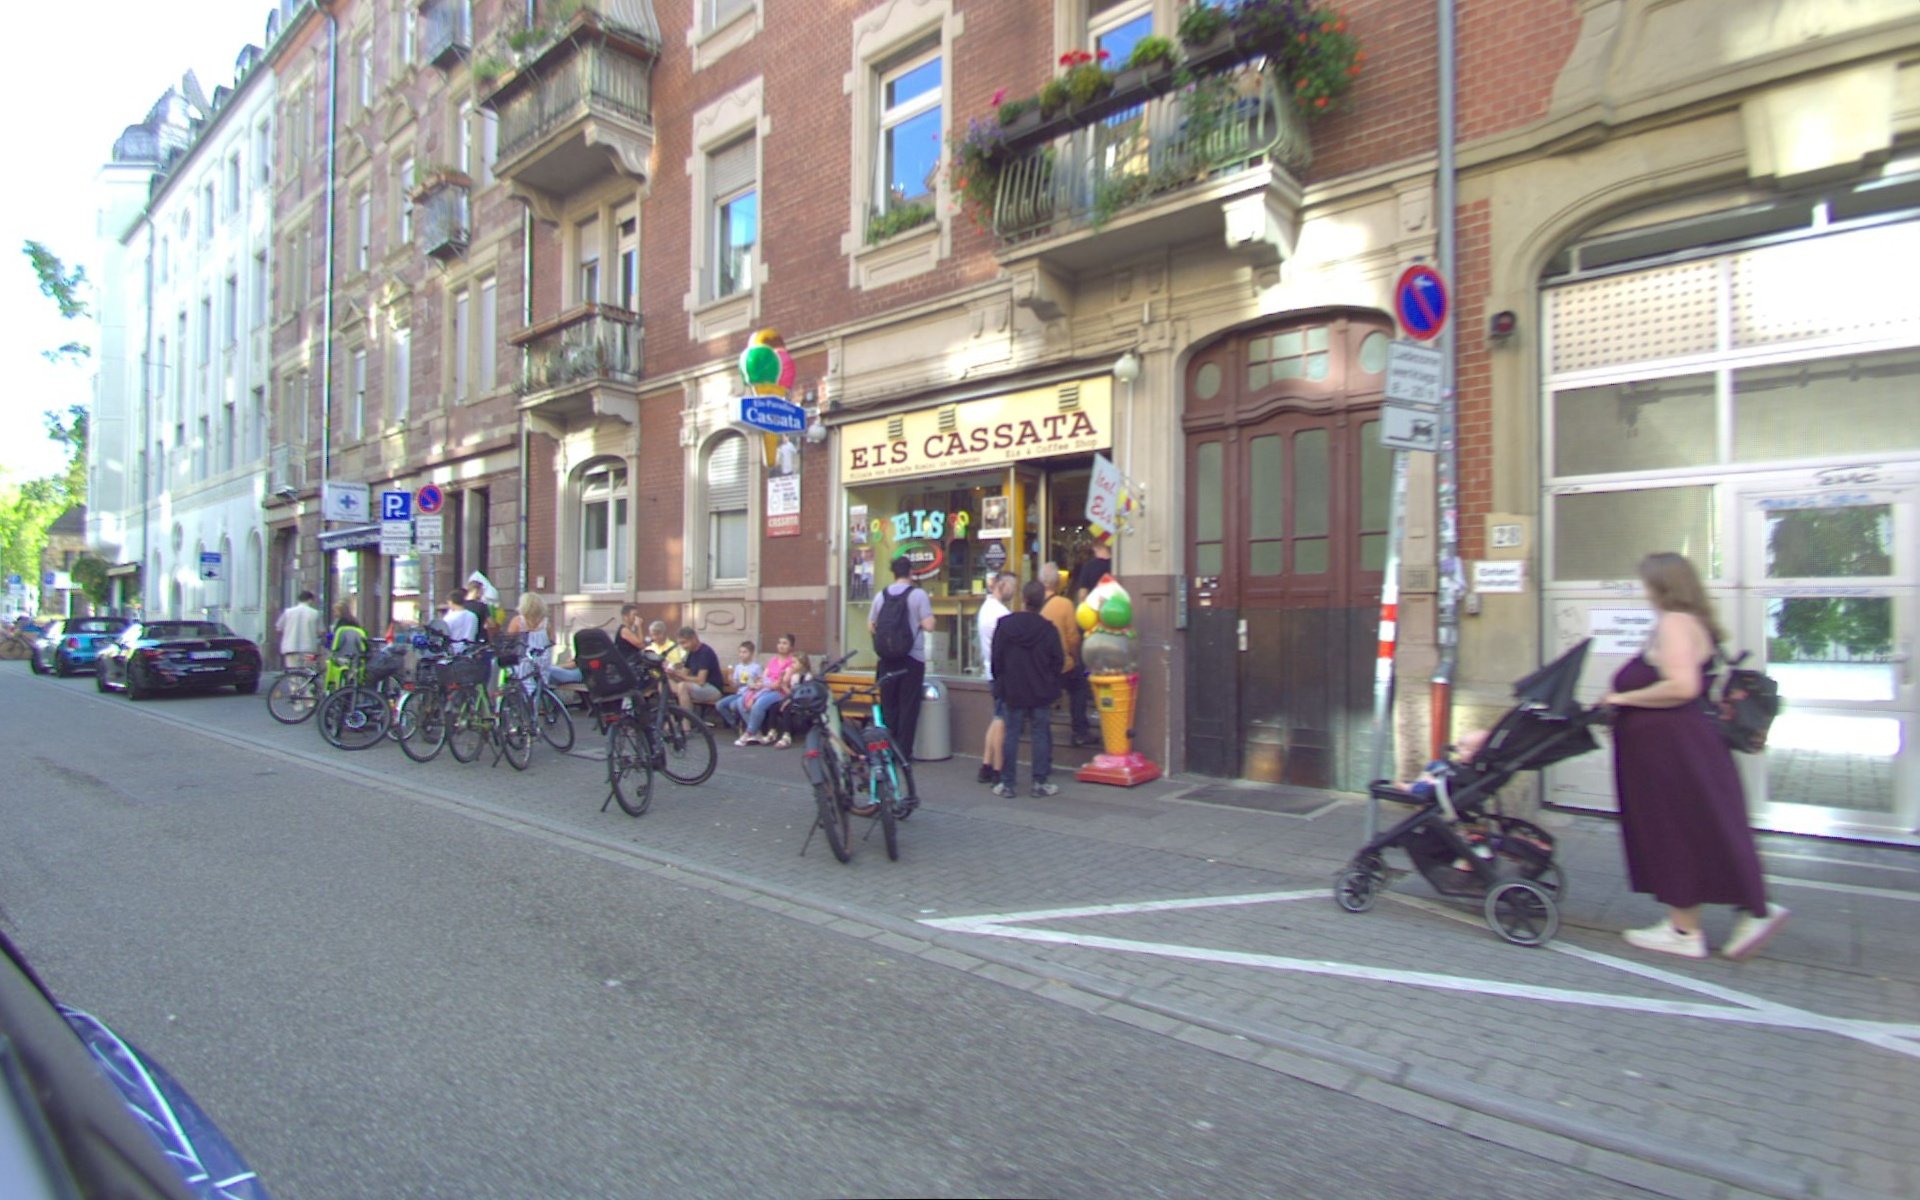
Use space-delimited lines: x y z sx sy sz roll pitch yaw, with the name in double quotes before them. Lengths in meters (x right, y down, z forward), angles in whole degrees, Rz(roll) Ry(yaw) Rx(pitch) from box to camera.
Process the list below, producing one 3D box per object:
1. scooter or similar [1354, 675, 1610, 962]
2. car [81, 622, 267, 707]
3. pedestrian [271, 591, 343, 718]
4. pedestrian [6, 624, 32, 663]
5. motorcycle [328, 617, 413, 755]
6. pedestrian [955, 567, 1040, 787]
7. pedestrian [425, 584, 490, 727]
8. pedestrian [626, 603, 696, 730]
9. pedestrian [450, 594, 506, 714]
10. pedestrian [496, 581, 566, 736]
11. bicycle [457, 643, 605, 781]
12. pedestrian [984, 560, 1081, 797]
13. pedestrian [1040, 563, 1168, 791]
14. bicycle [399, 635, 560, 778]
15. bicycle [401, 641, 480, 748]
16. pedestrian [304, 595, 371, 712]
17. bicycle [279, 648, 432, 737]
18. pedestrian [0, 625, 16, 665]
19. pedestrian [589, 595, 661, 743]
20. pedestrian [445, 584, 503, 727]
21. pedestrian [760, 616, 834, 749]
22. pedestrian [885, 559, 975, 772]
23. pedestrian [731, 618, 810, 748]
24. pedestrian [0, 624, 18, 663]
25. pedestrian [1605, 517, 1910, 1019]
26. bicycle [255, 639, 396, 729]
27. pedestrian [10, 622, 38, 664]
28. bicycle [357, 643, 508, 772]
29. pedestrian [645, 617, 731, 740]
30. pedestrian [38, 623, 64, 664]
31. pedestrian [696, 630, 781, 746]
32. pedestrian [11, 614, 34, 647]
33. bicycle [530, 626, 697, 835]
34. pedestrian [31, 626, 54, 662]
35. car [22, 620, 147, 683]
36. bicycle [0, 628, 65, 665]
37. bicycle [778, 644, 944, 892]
"scooter or similar" 2.322 0.899 4.512 0.920 1.063 0.600 -1 -1 37
"car" -14.760 1.112 18.888 5.112 1.361 1.793 -1 -1 41
"pedestrian" -9.734 0.790 15.104 0.750 1.832 0.668 -1 -1 -19
"pedestrian" -33.162 1.515 35.665 0.658 1.346 0.740 0 -1 -42
"motorcycle" -6.650 0.899 11.367 0.697 1.395 2.029 0 -1 -34
"pedestrian" 0.315 0.602 8.258 0.579 1.709 0.663 -1 -1 11
"pedestrian" -6.485 0.693 13.056 0.596 1.765 0.947 0 -1 -36
"pedestrian" -3.650 0.785 12.340 0.596 1.481 0.727 0 -1 -38
"pedestrian" -7.304 0.800 15.362 0.678 1.773 0.668 -1 -1 -19
"pedestrian" -5.116 0.674 12.064 0.596 1.765 0.727 0 -1 -38
"bicycle" -4.028 1.007 9.647 0.548 1.129 1.735 -1 0 5
"pedestrian" 0.533 0.570 7.636 0.637 1.709 0.565 -1 -1 -3
"pedestrian" 1.150 0.580 8.089 0.763 1.709 0.656 -1 -1 42
"bicycle" -4.618 0.975 9.867 0.583 1.209 1.788 -1 -1 5
"bicycle" -6.038 1.050 11.728 0.570 1.098 1.742 0 -1 -35
"pedestrian" -9.722 0.819 15.818 0.750 1.773 0.668 -1 -1 -19
"bicycle" -7.687 1.157 12.933 1.658 1.038 0.410 0 -1 -28
"pedestrian" -32.921 1.544 34.731 0.644 1.359 0.729 -1 -1 44
"pedestrian" -3.821 0.765 11.549 0.584 1.629 0.547 -1 -1 42
"pedestrian" -6.643 0.739 13.851 0.637 1.906 0.603 -1 -1 -19
"pedestrian" -1.703 0.837 10.592 0.372 1.323 0.694 -1 -1 37
"pedestrian" -0.262 0.581 9.294 0.658 1.868 0.761 -1 -1 11
"pedestrian" -2.027 0.863 10.845 0.439 1.323 0.710 -1 -1 37
"pedestrian" -34.791 1.568 36.544 1.073 1.383 0.896 0 -1 -40
"pedestrian" 3.051 0.564 3.986 0.826 1.674 0.903 -1 -1 33
"bicycle" -8.379 1.095 13.387 1.556 1.125 0.375 -1 -1 -9
"pedestrian" -32.134 1.469 34.754 0.680 1.383 0.740 0 -1 -45
"bicycle" -5.217 1.023 10.116 0.583 1.129 1.568 -1 -1 5
"pedestrian" -3.080 0.858 11.460 0.605 1.323 0.716 -1 -1 38
"pedestrian" -31.609 1.503 35.193 0.628 1.383 0.684 0 -1 -45
"pedestrian" -2.436 0.947 11.166 0.585 1.205 0.701 -1 -1 38
"pedestrian" -48.973 1.592 52.871 0.879 1.722 0.834 -1 -1 42
"bicycle" -2.496 0.882 7.486 0.521 1.332 1.674 -1 -1 5
"pedestrian" -32.678 1.561 36.054 0.589 1.253 0.694 0 -1 -42
"car" -21.919 1.234 25.281 4.007 1.426 1.653 -1 -1 38
"bicycle" -31.318 1.557 33.972 0.688 1.184 1.847 -1 -1 43
"bicycle" -0.705 0.908 6.341 0.795 1.167 2.275 -1 0 -11
